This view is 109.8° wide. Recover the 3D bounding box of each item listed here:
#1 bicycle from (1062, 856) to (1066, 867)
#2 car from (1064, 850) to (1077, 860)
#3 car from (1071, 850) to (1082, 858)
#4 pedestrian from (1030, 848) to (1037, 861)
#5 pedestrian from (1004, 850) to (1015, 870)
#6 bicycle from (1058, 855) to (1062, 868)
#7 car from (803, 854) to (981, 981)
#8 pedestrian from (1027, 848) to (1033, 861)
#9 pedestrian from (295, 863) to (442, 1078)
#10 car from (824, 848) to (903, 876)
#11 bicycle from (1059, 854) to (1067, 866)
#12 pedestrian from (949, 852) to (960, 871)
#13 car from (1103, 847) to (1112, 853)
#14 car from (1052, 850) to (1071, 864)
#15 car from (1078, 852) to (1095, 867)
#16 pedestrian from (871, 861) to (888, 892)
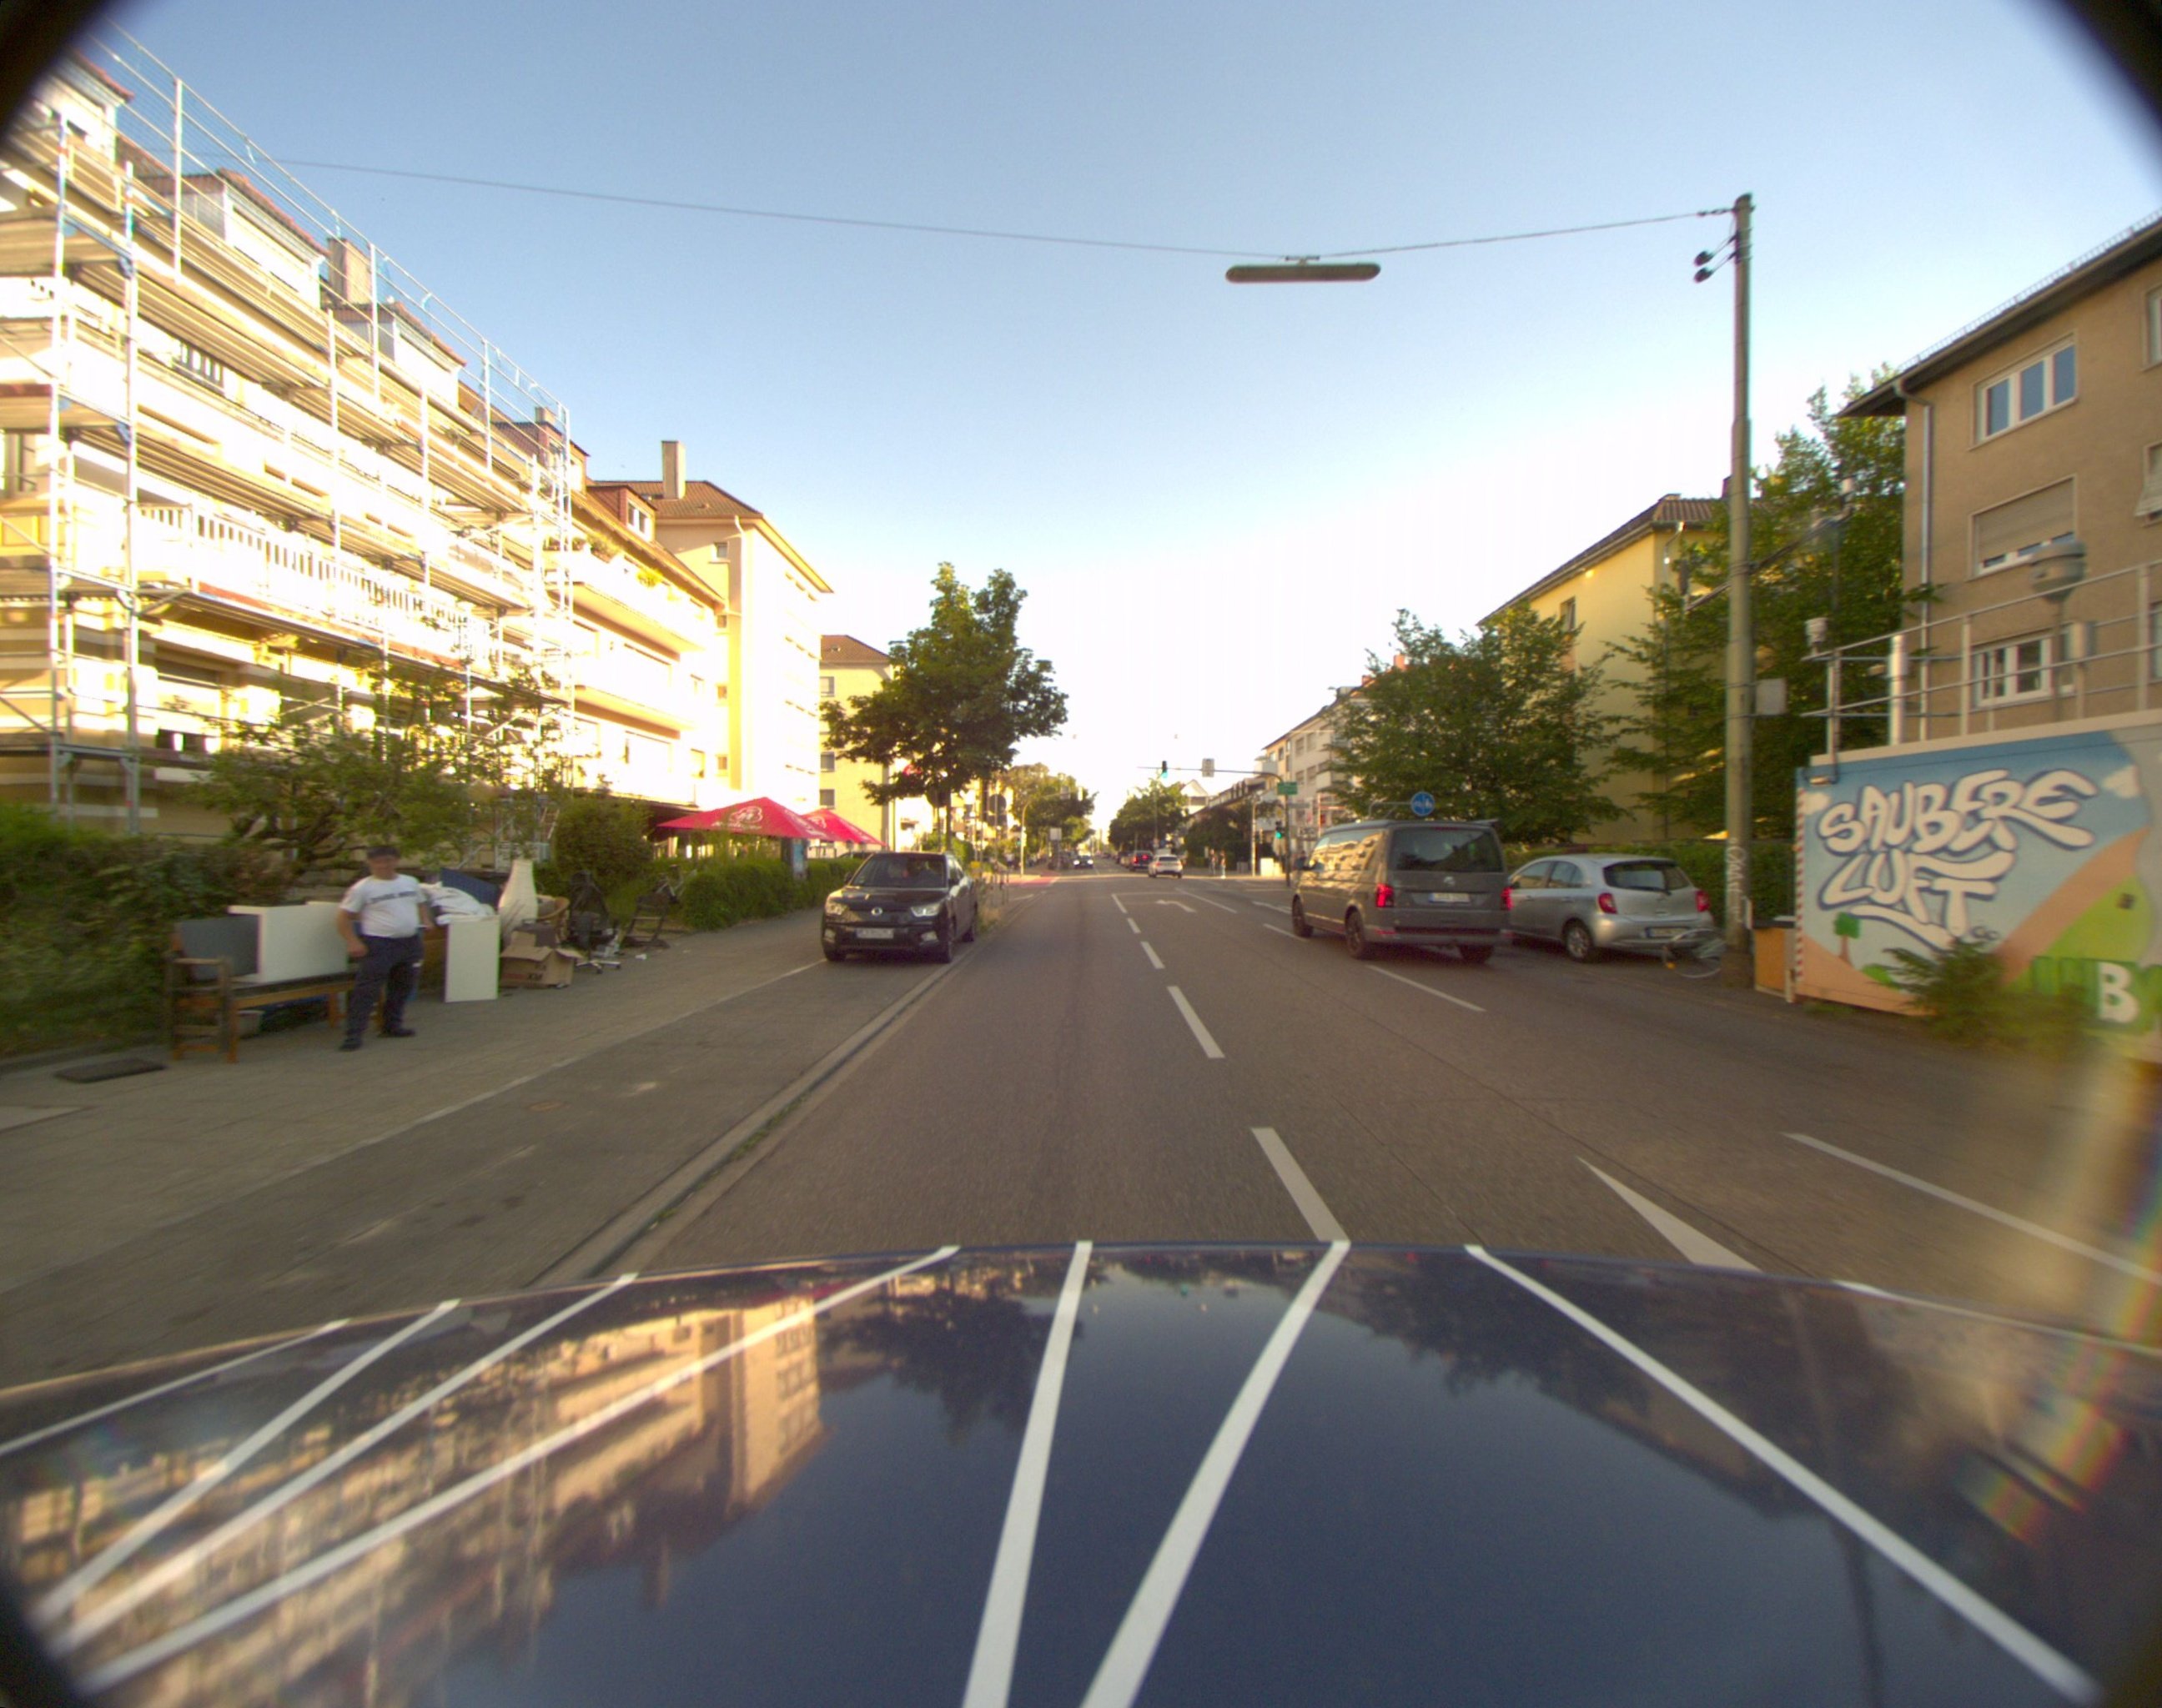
[{"bbox_3d":[-1.625,0.717,73.113,0.325,0.981,1.191,0,1,5],"label":"bicycle"},{"bbox_3d":[-1.595,0.158,117.253,1.744,1.509,3.811,0,1,3],"label":"car"},{"bbox_3d":[-0.799,0.028,139.503,1.744,1.509,3.811,0,1,3],"label":"car"},{"bbox_3d":[-6.006,0.075,95.871,0.659,1.673,0.831,1,1,6],"label":"pedestrian"},{"bbox_3d":[-6.007,0.465,64.063,0.830,1.673,0.660,1,1,4],"label":"pedestrian"},{"bbox_3d":[-1.933,0.708,70.418,0.325,1.138,1.799,0,1,-4],"label":"bicycle"},{"bbox_3d":[-2.752,0.835,11.995,1.796,1.622,4.028,1,0,0],"label":"car"},{"bbox_3d":[-6.278,0.060,93.328,0.659,1.673,0.831,1,1,6],"label":"pedestrian"},{"bbox_3d":[-5.594,0.862,6.011,0.558,1.559,0.747,-1,1,-18],"label":"pedestrian"},{"bbox_3d":[-14.995,0.533,52.558,4.842,1.855,1.952,0,2,-2],"label":"car"},{"bbox_3d":[-1.804,0.581,75.786,0.324,1.138,1.802,0,1,14],"label":"bicycle"},{"bbox_3d":[-9.123,0.558,54.915,0.641,1.383,0.594,-1,1,0],"label":"pedestrian"},{"bbox_3d":[7.094,-1.218,205.600,1.843,1.604,4.406,0,1,-7],"label":"car"},{"bbox_3d":[-2.103,0.271,83.239,1.744,1.509,3.811,0,1,3],"label":"car"},{"bbox_3d":[0.549,0.539,79.422,1.641,1.482,4.415,1,0,0],"label":"car"},{"bbox_3d":[-7.562,0.826,28.518,0.413,1.143,0.632,-1,1,4],"label":"pedestrian"}]
